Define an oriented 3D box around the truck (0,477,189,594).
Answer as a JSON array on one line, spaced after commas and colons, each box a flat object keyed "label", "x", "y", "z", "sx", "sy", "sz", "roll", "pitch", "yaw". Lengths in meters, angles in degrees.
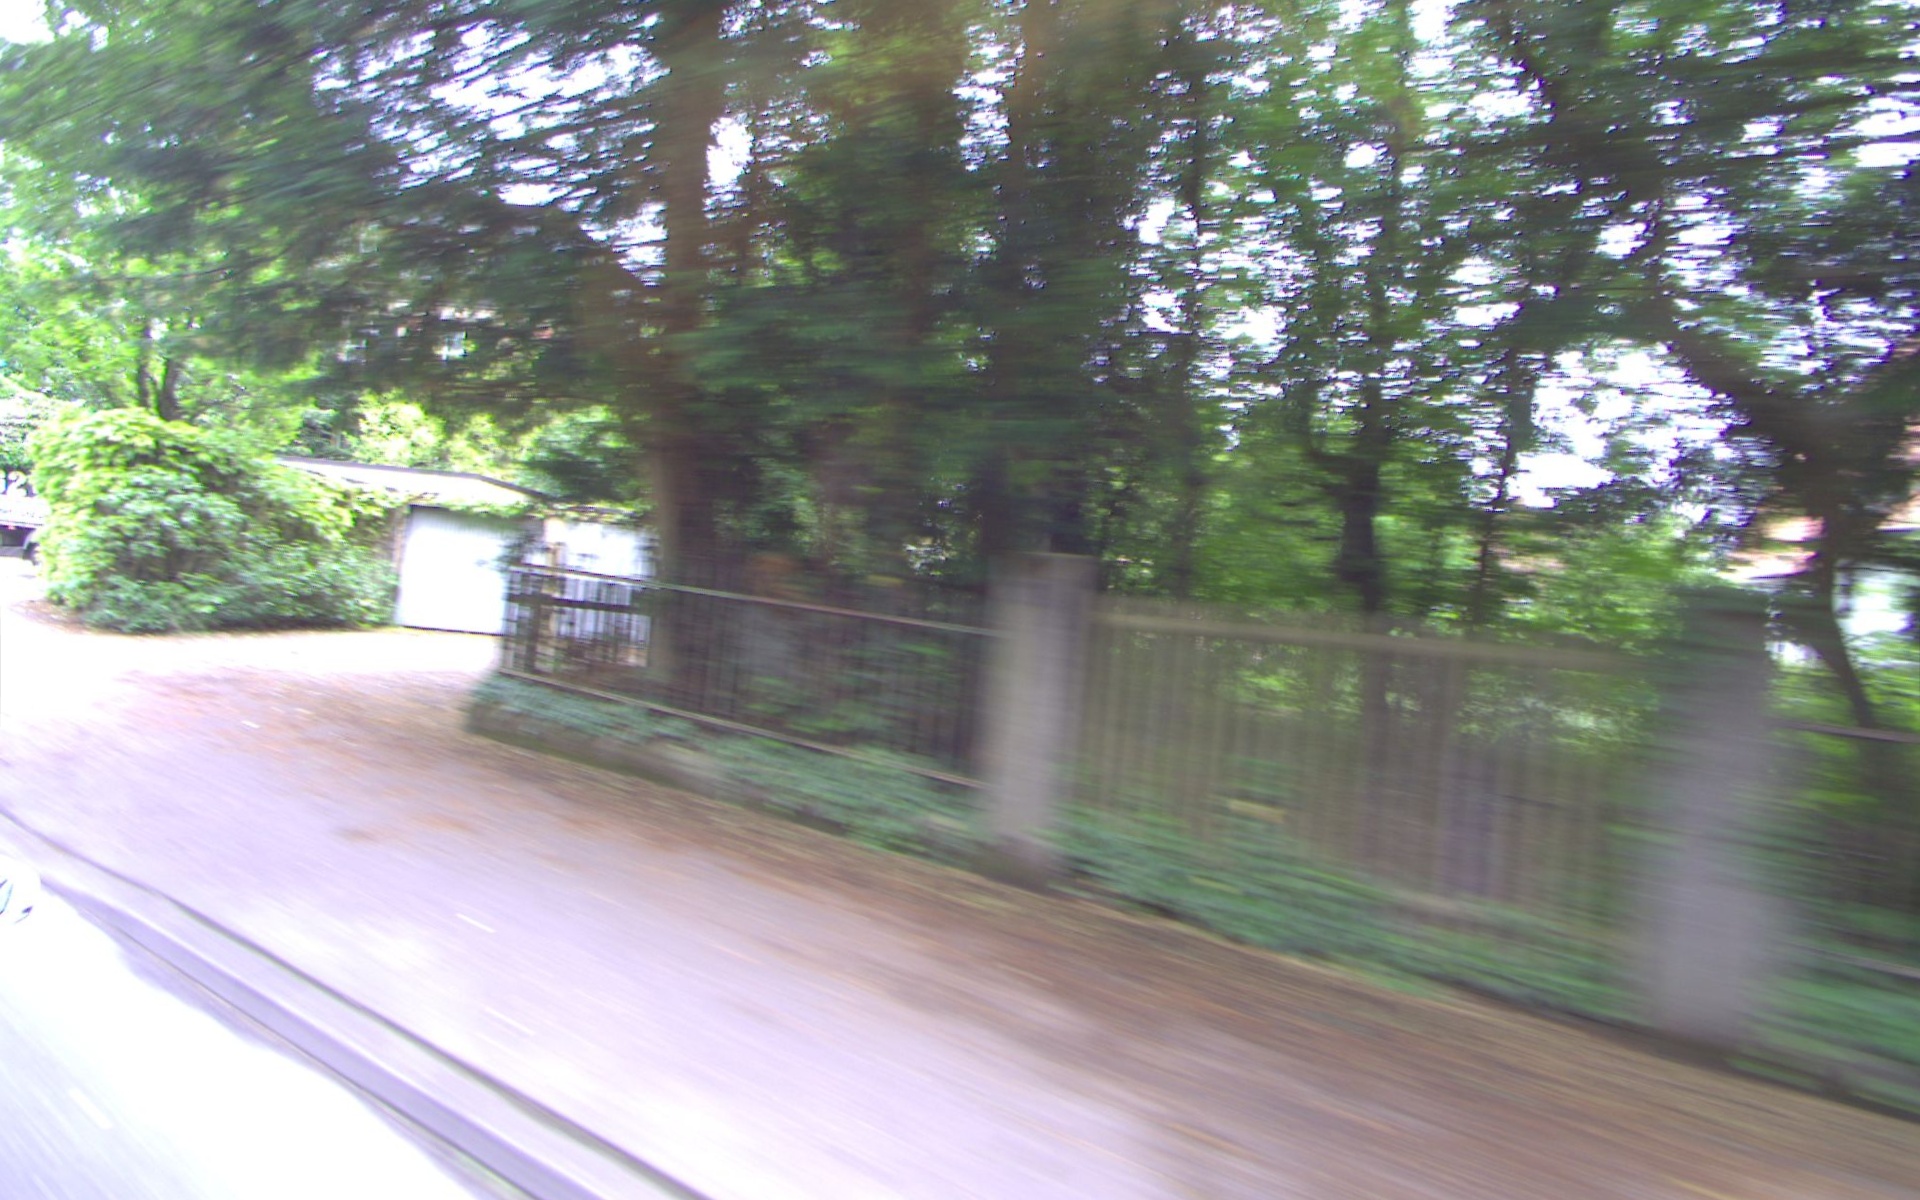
[{"label": "truck", "x": -15.668, "y": -1.148, "z": 17.733, "sx": 3.002, "sy": 1.710, "sz": 1.354, "roll": 6, "pitch": 0, "yaw": 3}]
